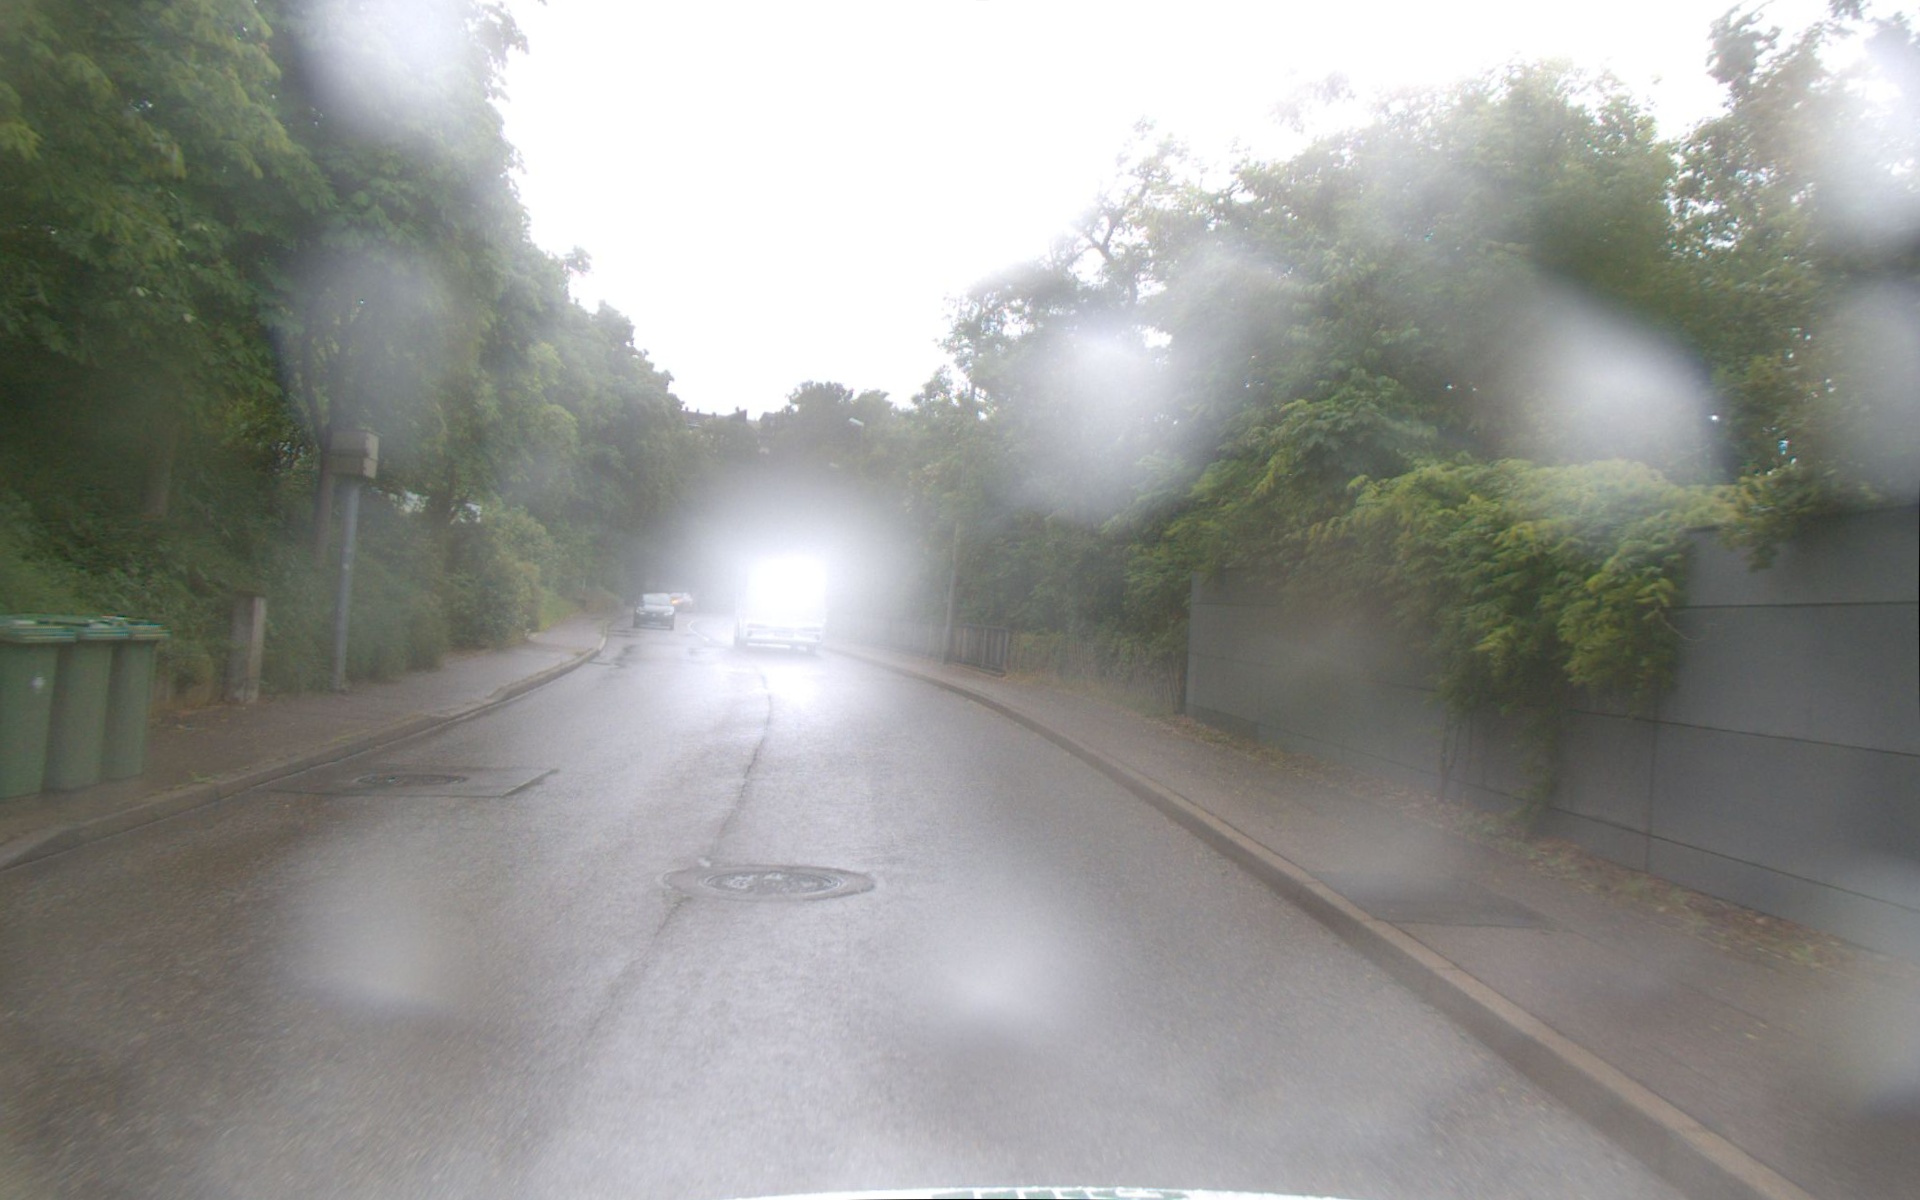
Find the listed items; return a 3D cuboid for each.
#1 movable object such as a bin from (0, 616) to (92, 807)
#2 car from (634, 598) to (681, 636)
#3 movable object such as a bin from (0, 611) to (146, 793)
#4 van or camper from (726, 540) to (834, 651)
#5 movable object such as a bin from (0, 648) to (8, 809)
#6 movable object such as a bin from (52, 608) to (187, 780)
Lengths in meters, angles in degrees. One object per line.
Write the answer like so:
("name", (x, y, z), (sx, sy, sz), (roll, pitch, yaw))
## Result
("movable object such as a bin", (-5.764, 0.656, 10.021), (0.635, 1.099, 0.673), (2, 0, -3))
("car", (-12.157, 0.669, 66.588), (1.619, 1.409, 3.523), (2, 0, -8))
("movable object such as a bin", (-5.773, 0.645, 10.731), (0.635, 1.123, 0.673), (2, 0, -3))
("van or camper", (-5.295, -0.060, 47.888), (2.496, 2.976, 5.928), (1, -1, -12))
("movable object such as a bin", (-5.836, 0.732, 9.239), (0.635, 0.927, 0.673), (2, 0, -3))
("movable object such as a bin", (-5.746, 0.632, 11.330), (0.635, 1.135, 0.505), (2, 0, -3))
